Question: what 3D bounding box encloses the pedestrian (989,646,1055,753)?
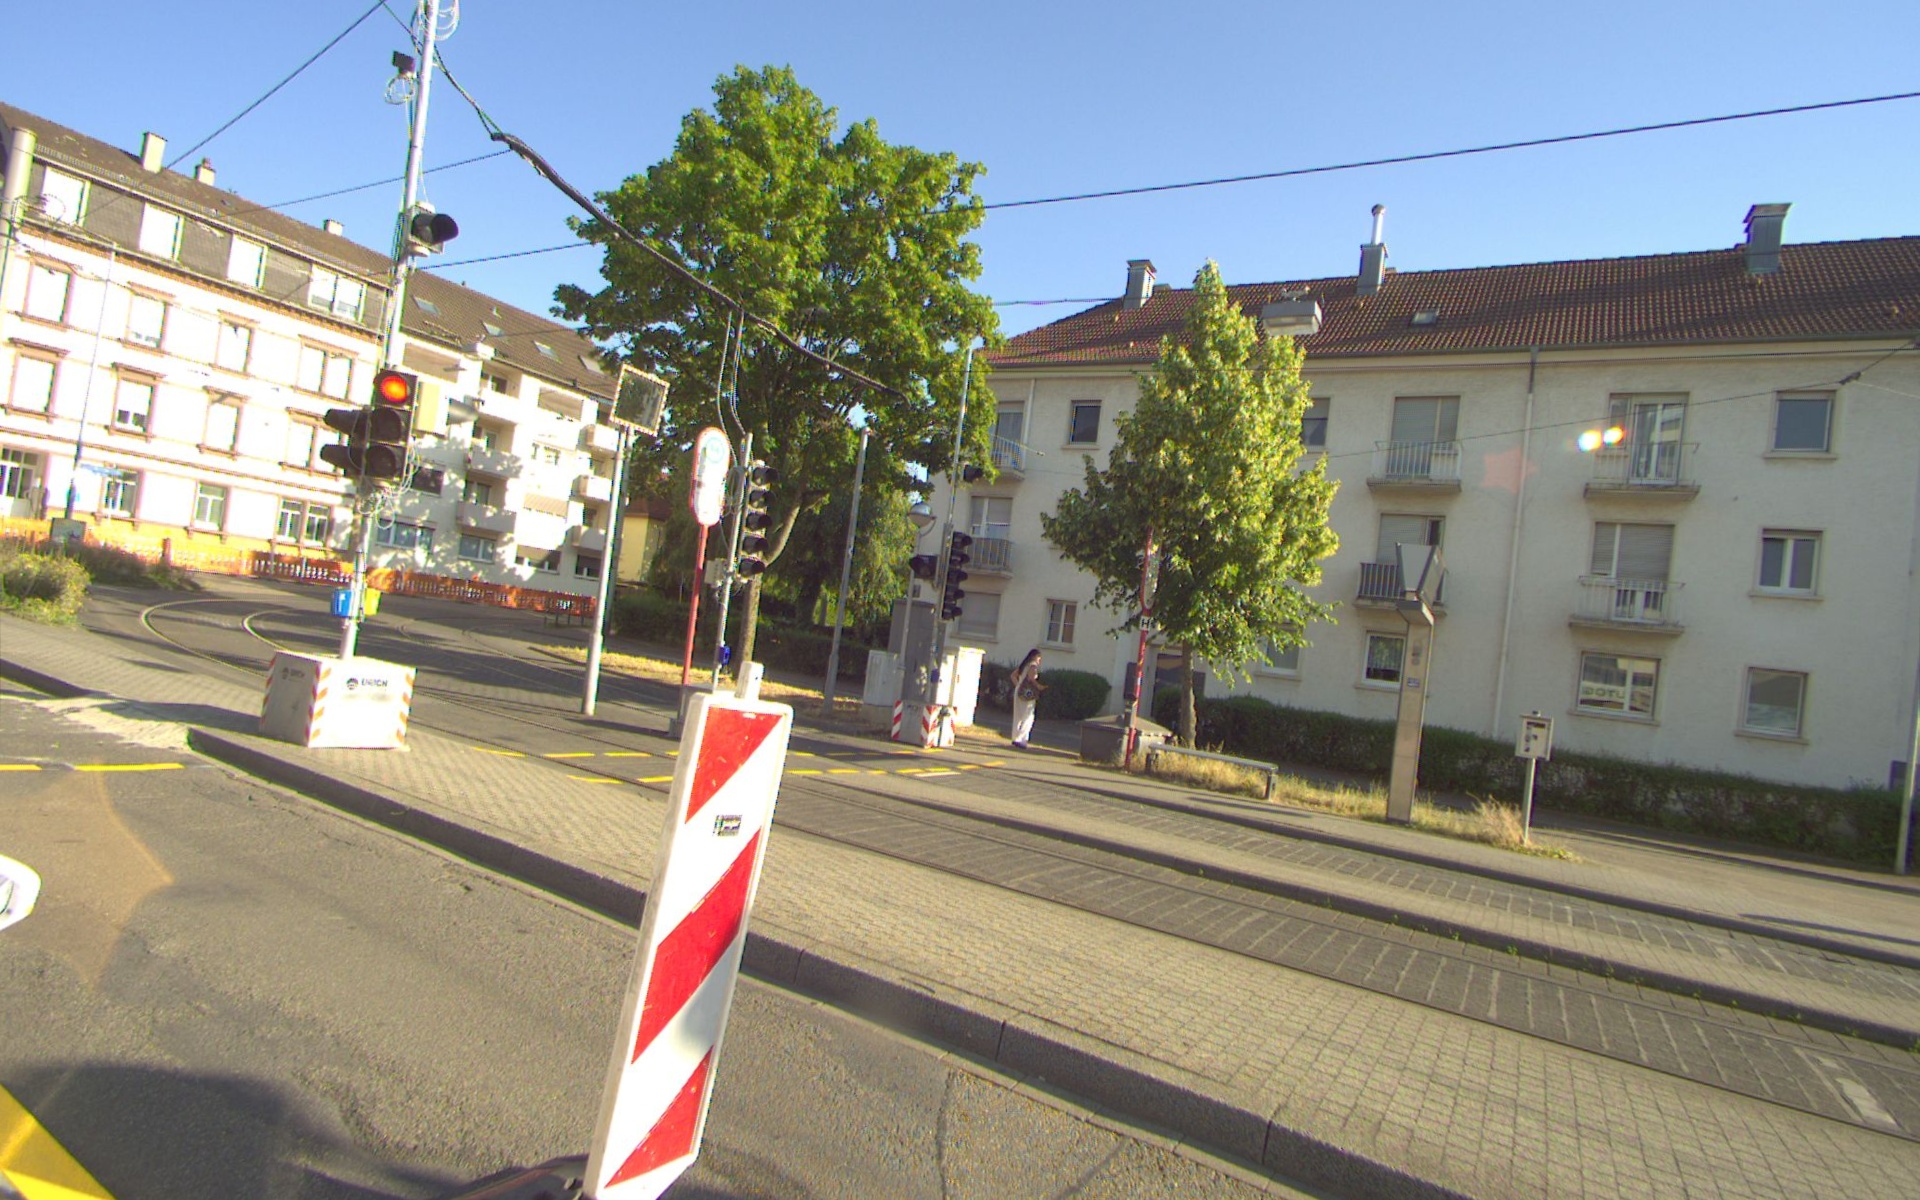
[{"bbox_3d":[1.049,1.648,16.778,0.776,1.639,0.827,7,-1,14],"label":"pedestrian"}]
